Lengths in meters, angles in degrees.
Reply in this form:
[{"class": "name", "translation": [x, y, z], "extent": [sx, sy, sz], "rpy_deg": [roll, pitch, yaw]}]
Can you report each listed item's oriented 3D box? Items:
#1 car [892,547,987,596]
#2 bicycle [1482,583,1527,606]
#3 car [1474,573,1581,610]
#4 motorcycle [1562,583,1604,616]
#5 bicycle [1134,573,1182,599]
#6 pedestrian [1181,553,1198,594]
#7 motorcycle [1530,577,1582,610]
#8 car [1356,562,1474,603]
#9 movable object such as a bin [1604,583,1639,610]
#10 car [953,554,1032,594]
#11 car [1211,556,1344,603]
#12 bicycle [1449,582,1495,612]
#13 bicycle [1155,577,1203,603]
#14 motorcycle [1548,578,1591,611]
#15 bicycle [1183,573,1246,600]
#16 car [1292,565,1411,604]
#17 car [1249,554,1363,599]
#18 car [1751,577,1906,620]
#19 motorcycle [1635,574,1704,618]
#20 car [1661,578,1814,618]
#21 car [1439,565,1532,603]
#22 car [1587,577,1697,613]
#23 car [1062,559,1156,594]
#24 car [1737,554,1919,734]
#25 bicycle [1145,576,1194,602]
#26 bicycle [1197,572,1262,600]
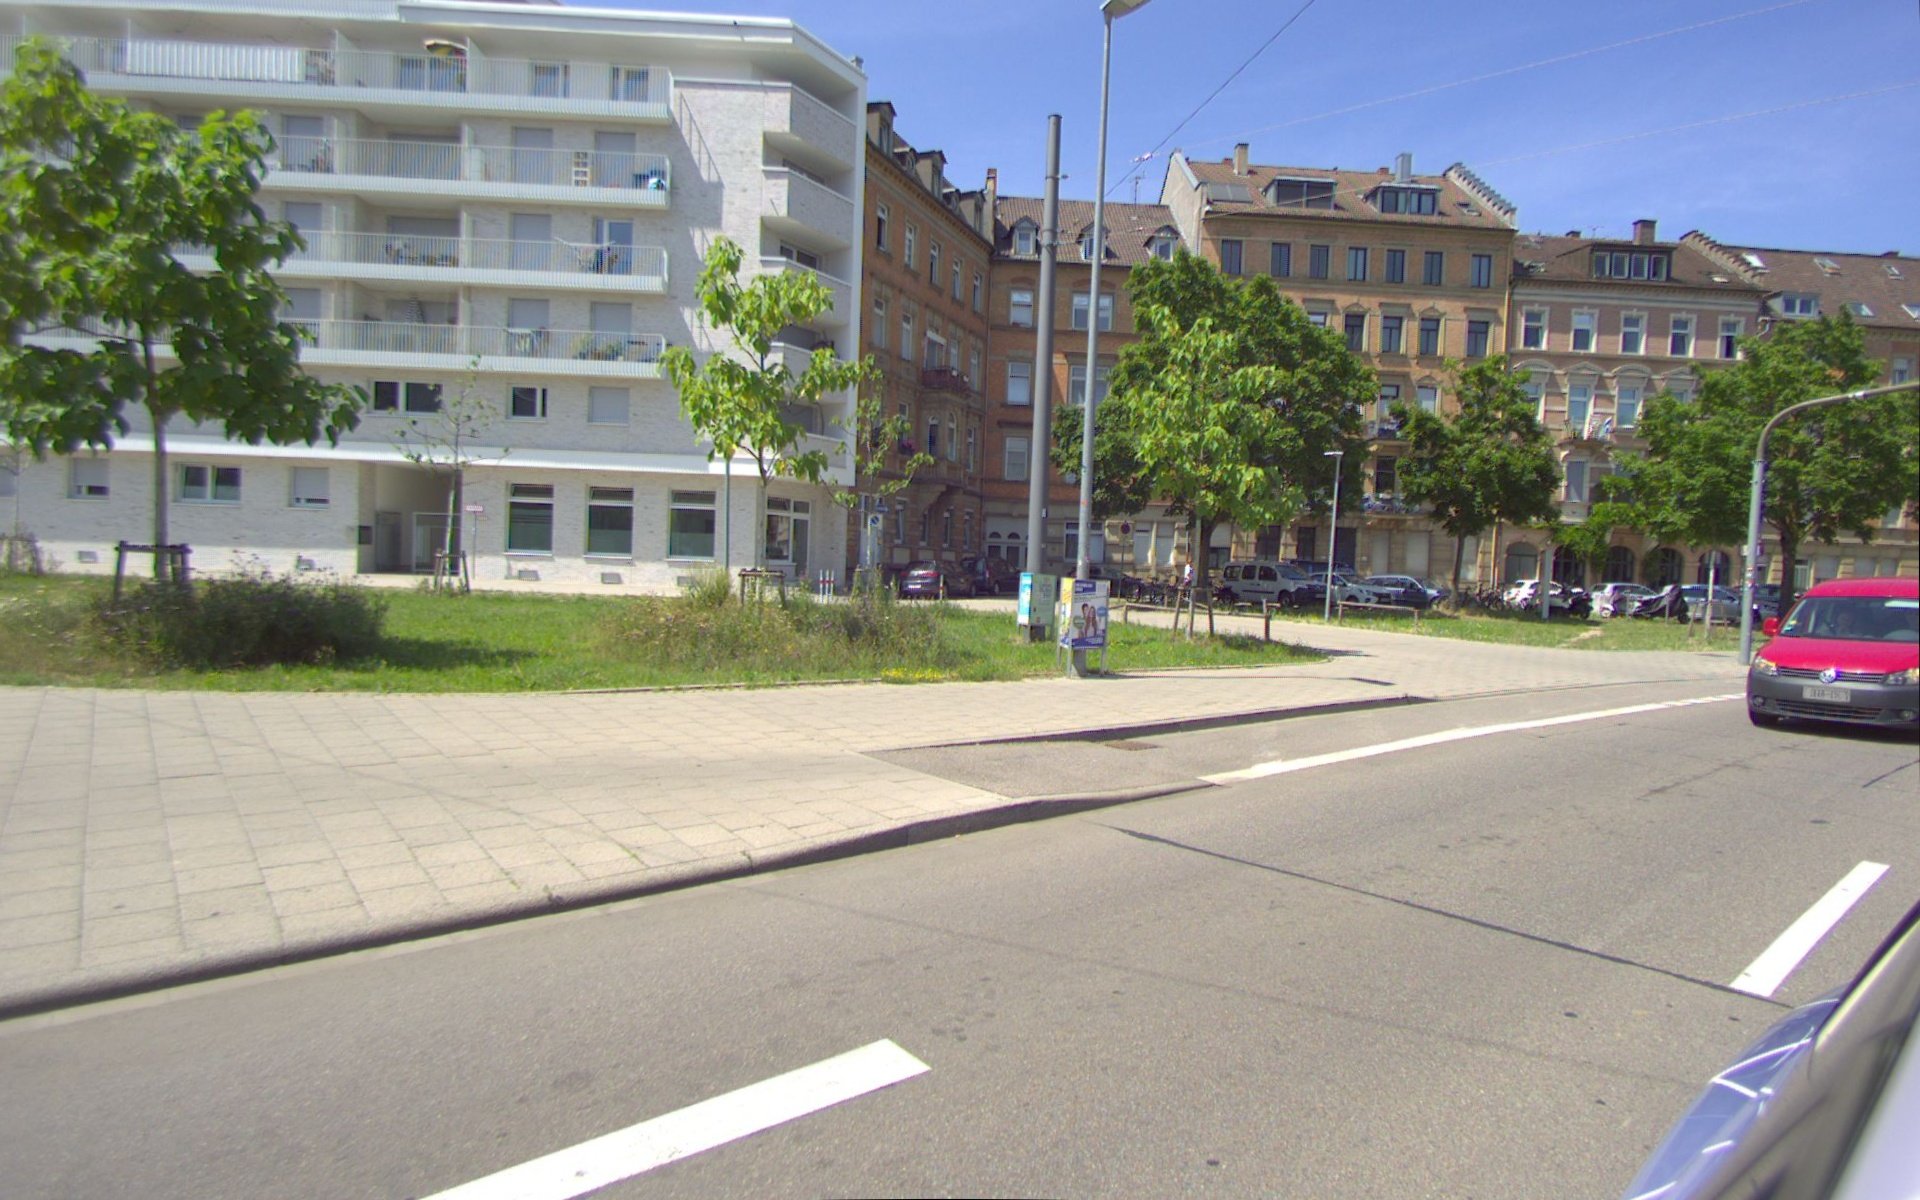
[{"class": "car", "translation": [-0.678, -0.994, 36.744], "extent": [1.679, 1.645, 4.091], "rpy_deg": [2, 1, 27]}, {"class": "bicycle", "translation": [20.178, -0.199, 37.501], "extent": [1.445, 0.815, 0.493], "rpy_deg": [2, 1, 33]}, {"class": "car", "translation": [26.624, -0.405, 47.534], "extent": [3.924, 1.549, 1.842], "rpy_deg": [2, 1, 0]}, {"class": "motorcycle", "translation": [22.082, -0.025, 35.904], "extent": [0.468, 1.134, 1.526], "rpy_deg": [2, 1, -2]}, {"class": "bicycle", "translation": [7.357, -0.536, 37.694], "extent": [0.498, 0.947, 2.052], "rpy_deg": [2, 1, -32]}, {"class": "pedestrian", "translation": [10.538, -1.225, 46.509], "extent": [0.591, 1.842, 0.453], "rpy_deg": [2, 0, -2]}, {"class": "motorcycle", "translation": [21.178, -0.228, 36.001], "extent": [0.517, 1.134, 1.831], "rpy_deg": [2, 1, -9]}, {"class": "car", "translation": [17.256, -0.671, 38.547], "extent": [1.575, 1.450, 3.873], "rpy_deg": [1, 1, -30]}, {"class": "movable object such as a bin", "translation": [24.051, -0.130, 36.799], "extent": [0.690, 0.949, 0.986], "rpy_deg": [2, 0, 9]}, {"class": "car", "translation": [1.438, -1.084, 42.693], "extent": [1.760, 1.548, 4.043], "rpy_deg": [2, 1, 27]}, {"class": "car", "translation": [11.809, -0.779, 37.987], "extent": [1.799, 1.621, 4.882], "rpy_deg": [2, 1, -29]}, {"class": "bicycle", "translation": [17.742, -0.105, 35.098], "extent": [1.354, 0.959, 0.473], "rpy_deg": [2, 0, 19]}, {"class": "bicycle", "translation": [8.304, -0.385, 38.474], "extent": [0.498, 0.947, 2.052], "rpy_deg": [2, 1, -32]}, {"class": "motorcycle", "translation": [23.984, -0.221, 39.839], "extent": [0.800, 1.251, 2.077], "rpy_deg": [2, 1, 13]}, {"class": "bicycle", "translation": [9.713, -0.530, 38.701], "extent": [0.500, 0.947, 2.421], "rpy_deg": [0, 2, -44]}, {"class": "car", "translation": [14.669, -0.606, 38.153], "extent": [1.723, 1.349, 4.006], "rpy_deg": [1, 1, -29]}, {"class": "car", "translation": [16.053, -1.081, 47.055], "extent": [4.564, 1.927, 1.926], "rpy_deg": [2, 0, -1]}, {"class": "car", "translation": [32.916, -0.074, 38.479], "extent": [1.761, 1.488, 4.098], "rpy_deg": [1, 1, -29]}, {"class": "motorcycle", "translation": [24.650, -0.162, 35.181], "extent": [1.821, 1.430, 0.677], "rpy_deg": [2, 2, 0]}, {"class": "car", "translation": [29.636, -0.100, 38.731], "extent": [1.550, 1.393, 4.355], "rpy_deg": [2, 1, -27]}, {"class": "car", "translation": [21.128, -0.626, 40.874], "extent": [1.923, 1.393, 3.994], "rpy_deg": [2, 1, 6]}, {"class": "car", "translation": [32.068, -0.243, 47.665], "extent": [3.921, 1.549, 1.844], "rpy_deg": [2, 1, -4]}, {"class": "car", "translation": [6.817, -1.063, 46.466], "extent": [3.922, 1.438, 1.779], "rpy_deg": [2, 1, -3]}, {"class": "car", "translation": [11.618, 0.480, 12.419], "extent": [5.068, 1.857, 1.861], "rpy_deg": [1, 1, -35]}, {"class": "bicycle", "translation": [7.875, -0.419, 38.150], "extent": [0.498, 0.947, 2.052], "rpy_deg": [2, 1, -32]}, {"class": "bicycle", "translation": [9.965, -0.528, 37.492], "extent": [0.500, 0.947, 2.421], "rpy_deg": [1, 1, -44]}]
